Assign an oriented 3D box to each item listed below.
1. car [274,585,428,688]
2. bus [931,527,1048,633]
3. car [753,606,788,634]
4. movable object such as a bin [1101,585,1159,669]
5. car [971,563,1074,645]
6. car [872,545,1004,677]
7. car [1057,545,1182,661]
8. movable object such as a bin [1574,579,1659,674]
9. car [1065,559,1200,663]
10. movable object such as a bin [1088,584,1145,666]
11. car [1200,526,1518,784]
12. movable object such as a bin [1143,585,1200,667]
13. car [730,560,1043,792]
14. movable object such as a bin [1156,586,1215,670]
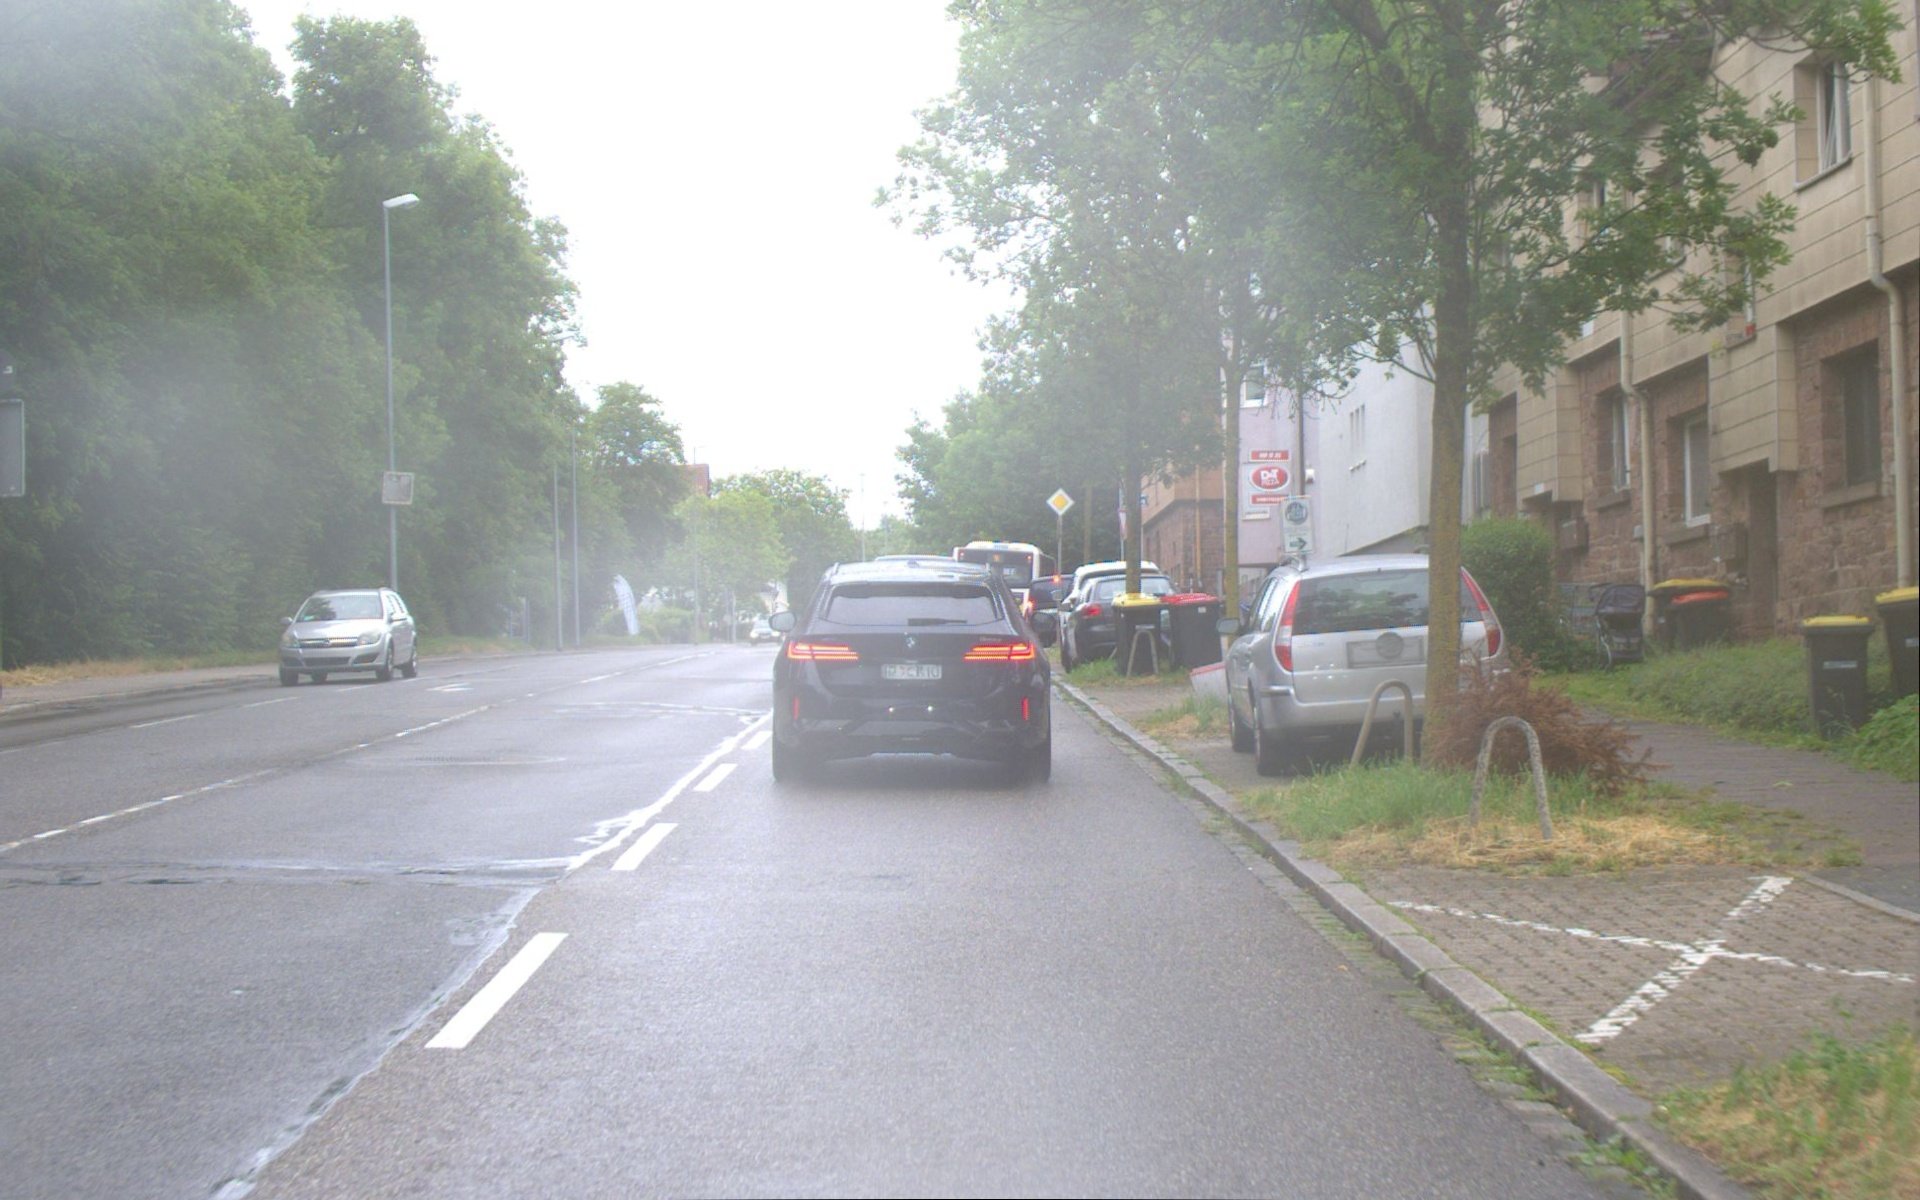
[{"bbox_3d":[-9.625,0.548,54.605,1.689,1.478,4.452,-3,0,-1],"label":"car"},{"bbox_3d":[0.912,-0.612,99.105,2.623,2.838,8.287,-2,1,5],"label":"bus"},{"bbox_3d":[-11.090,1.155,201.416,1.770,1.528,4.000,-2,1,-1],"label":"car"},{"bbox_3d":[2.220,0.352,45.063,0.619,1.046,0.822,-3,1,-3],"label":"movable object such as a bin"},{"bbox_3d":[1.633,0.118,87.592,1.927,1.886,4.759,-4,-1,8],"label":"car"},{"bbox_3d":[-0.341,0.154,54.251,1.993,2.007,4.000,0,0,0],"label":"car"},{"bbox_3d":[2.568,0.018,56.378,1.824,1.766,4.541,-2,1,0],"label":"car"},{"bbox_3d":[6.907,0.272,36.203,0.700,0.962,0.941,1,1,0],"label":"movable object such as a bin"},{"bbox_3d":[2.507,0.157,50.761,1.641,1.444,3.999,-1,0,-2],"label":"car"},{"bbox_3d":[2.085,0.332,45.961,0.619,1.046,0.822,-3,1,-3],"label":"movable object such as a bin"},{"bbox_3d":[2.811,0.317,25.152,1.702,1.579,4.643,-4,1,0],"label":"car"},{"bbox_3d":[2.824,0.339,45.970,0.619,1.046,0.822,-3,1,-3],"label":"movable object such as a bin"},{"bbox_3d":[-0.507,0.478,24.382,1.993,1.448,4.000,2,0,-1],"label":"car"},{"bbox_3d":[2.952,0.360,45.048,0.619,1.046,0.822,-3,1,-3],"label":"movable object such as a bin"}]
